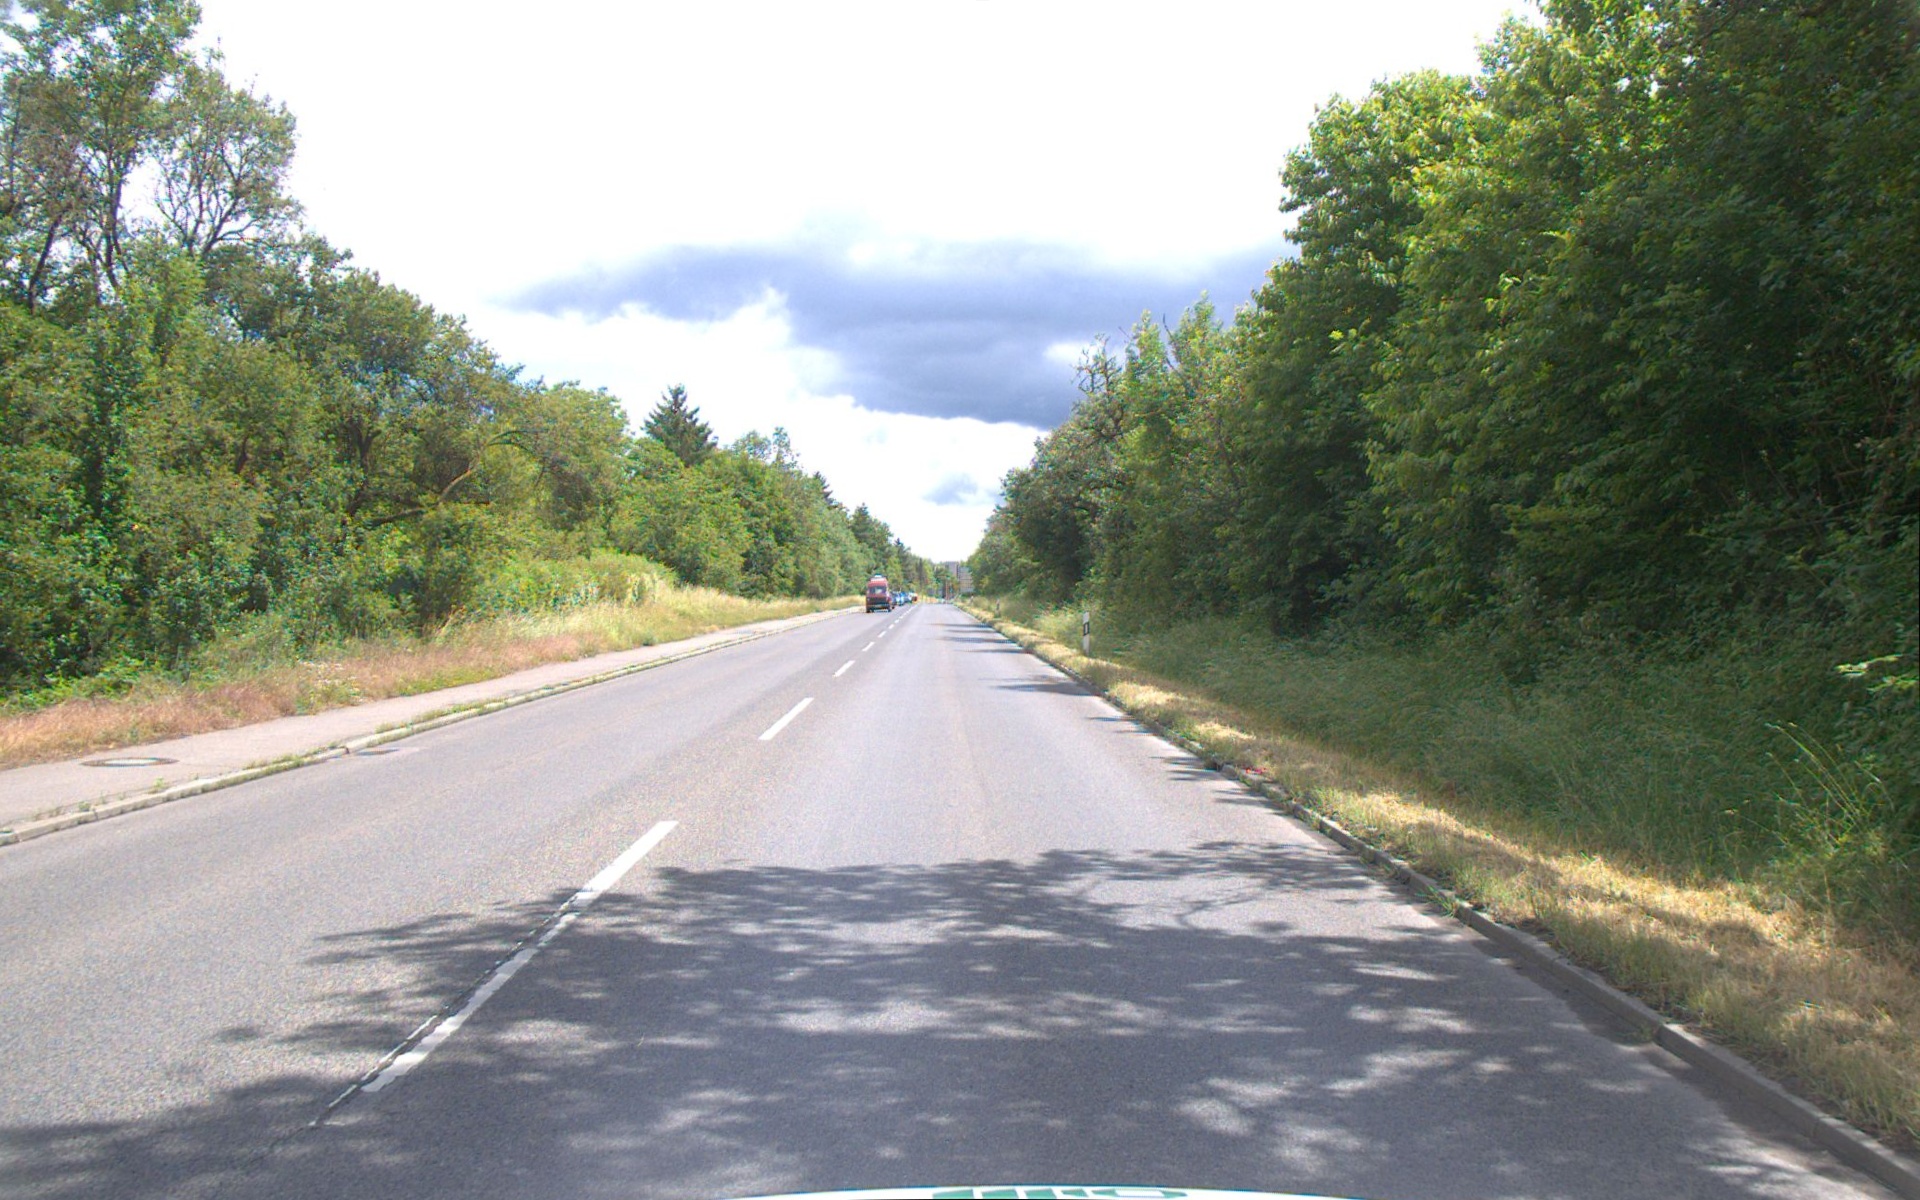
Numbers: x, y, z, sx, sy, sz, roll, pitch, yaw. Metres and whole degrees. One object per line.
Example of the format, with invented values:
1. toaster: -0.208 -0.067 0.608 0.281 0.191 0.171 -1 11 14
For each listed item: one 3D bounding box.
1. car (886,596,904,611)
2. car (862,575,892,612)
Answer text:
1. car: -6.645 0.364 170.129 1.748 1.472 4.451 -2 0 -2
2. car: -5.982 -0.461 119.899 1.929 2.594 4.724 -2 0 -1
